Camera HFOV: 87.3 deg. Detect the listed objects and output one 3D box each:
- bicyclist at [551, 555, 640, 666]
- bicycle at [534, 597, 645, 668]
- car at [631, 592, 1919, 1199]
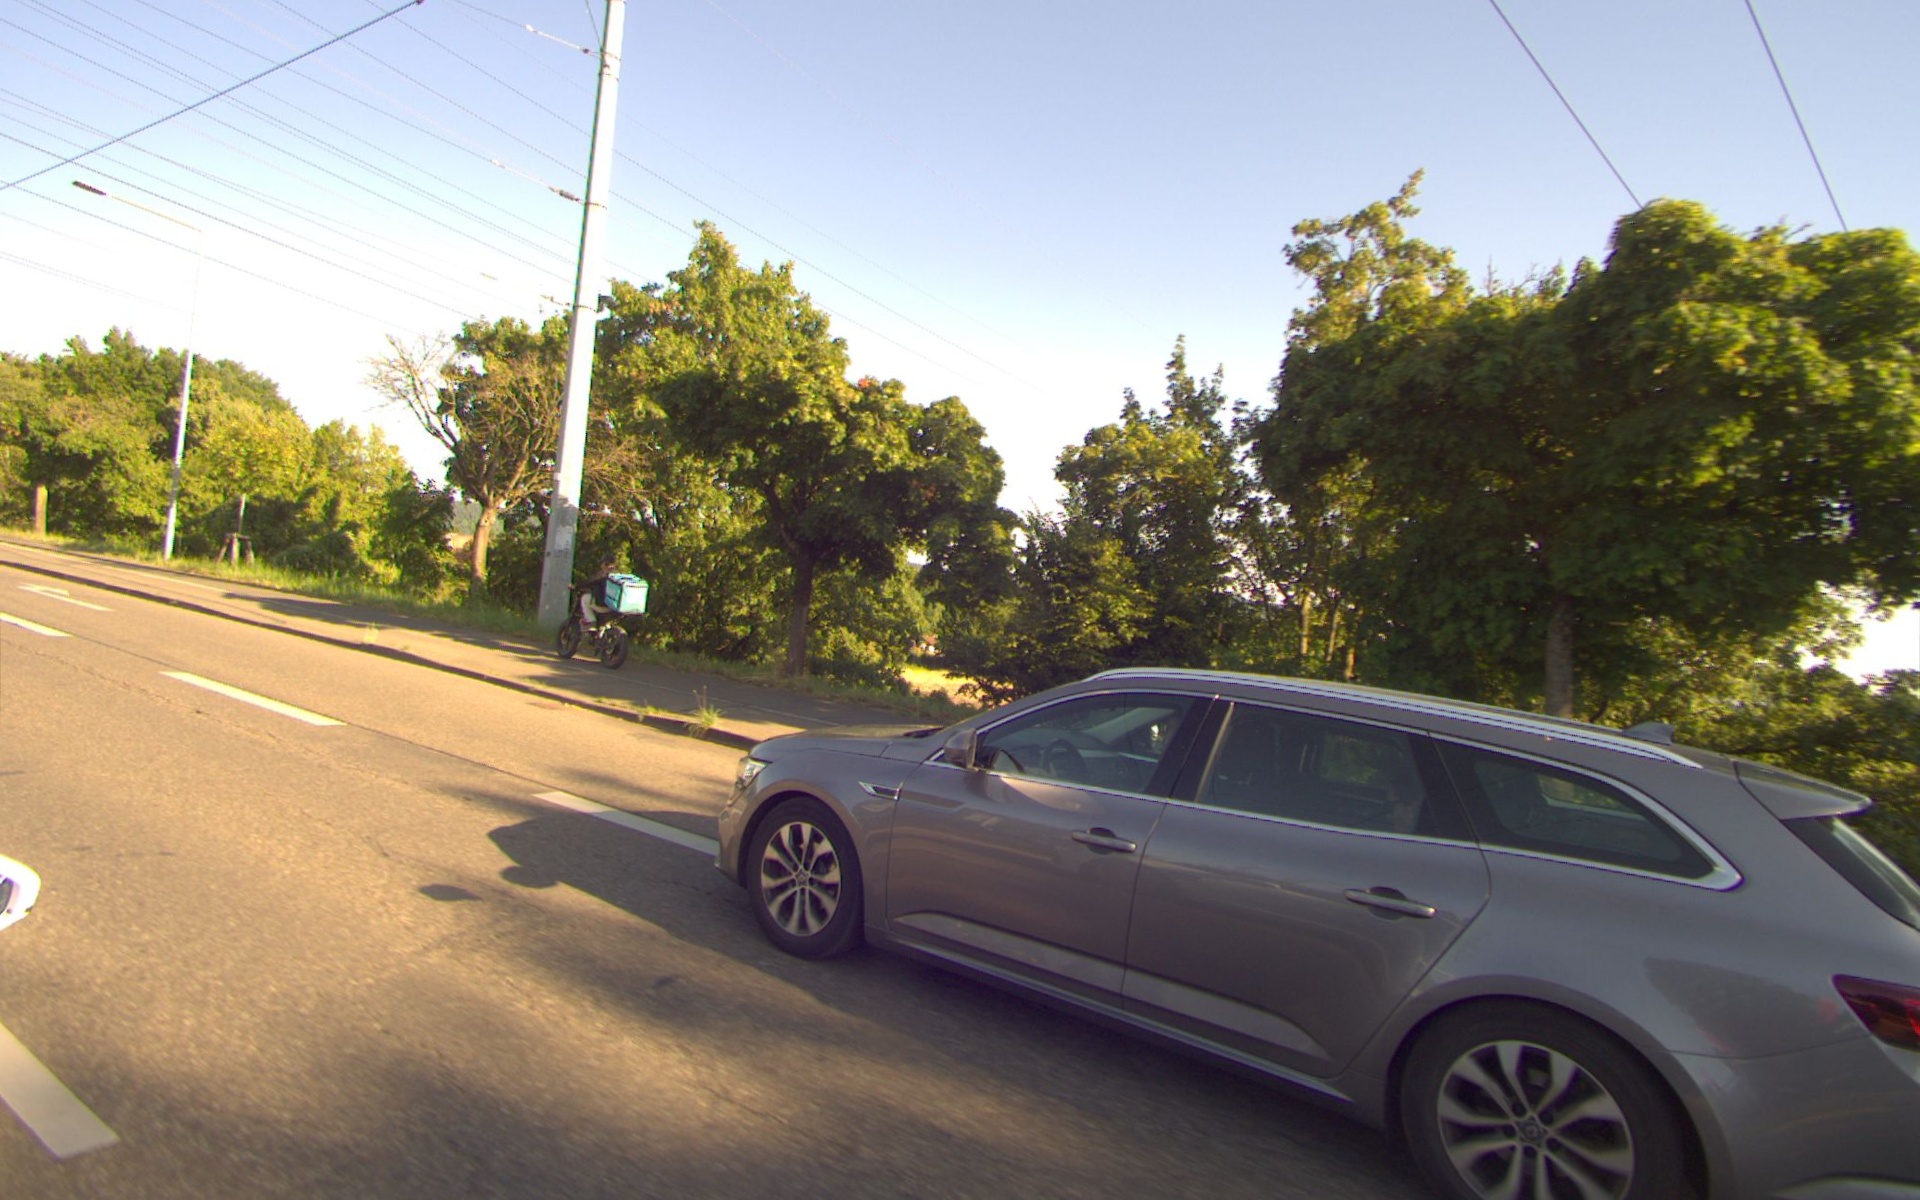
[{"bbox_3d":[-5.285,0.138,14.581,1.043,1.491,0.626,7,4,32],"label":"bicyclist"},{"bbox_3d":[-5.404,0.458,14.658,1.608,0.845,0.626,6,3,32],"label":"bicycle"},{"bbox_3d":[0.935,0.975,4.238,4.585,1.460,1.878,6,-1,34],"label":"car"}]
